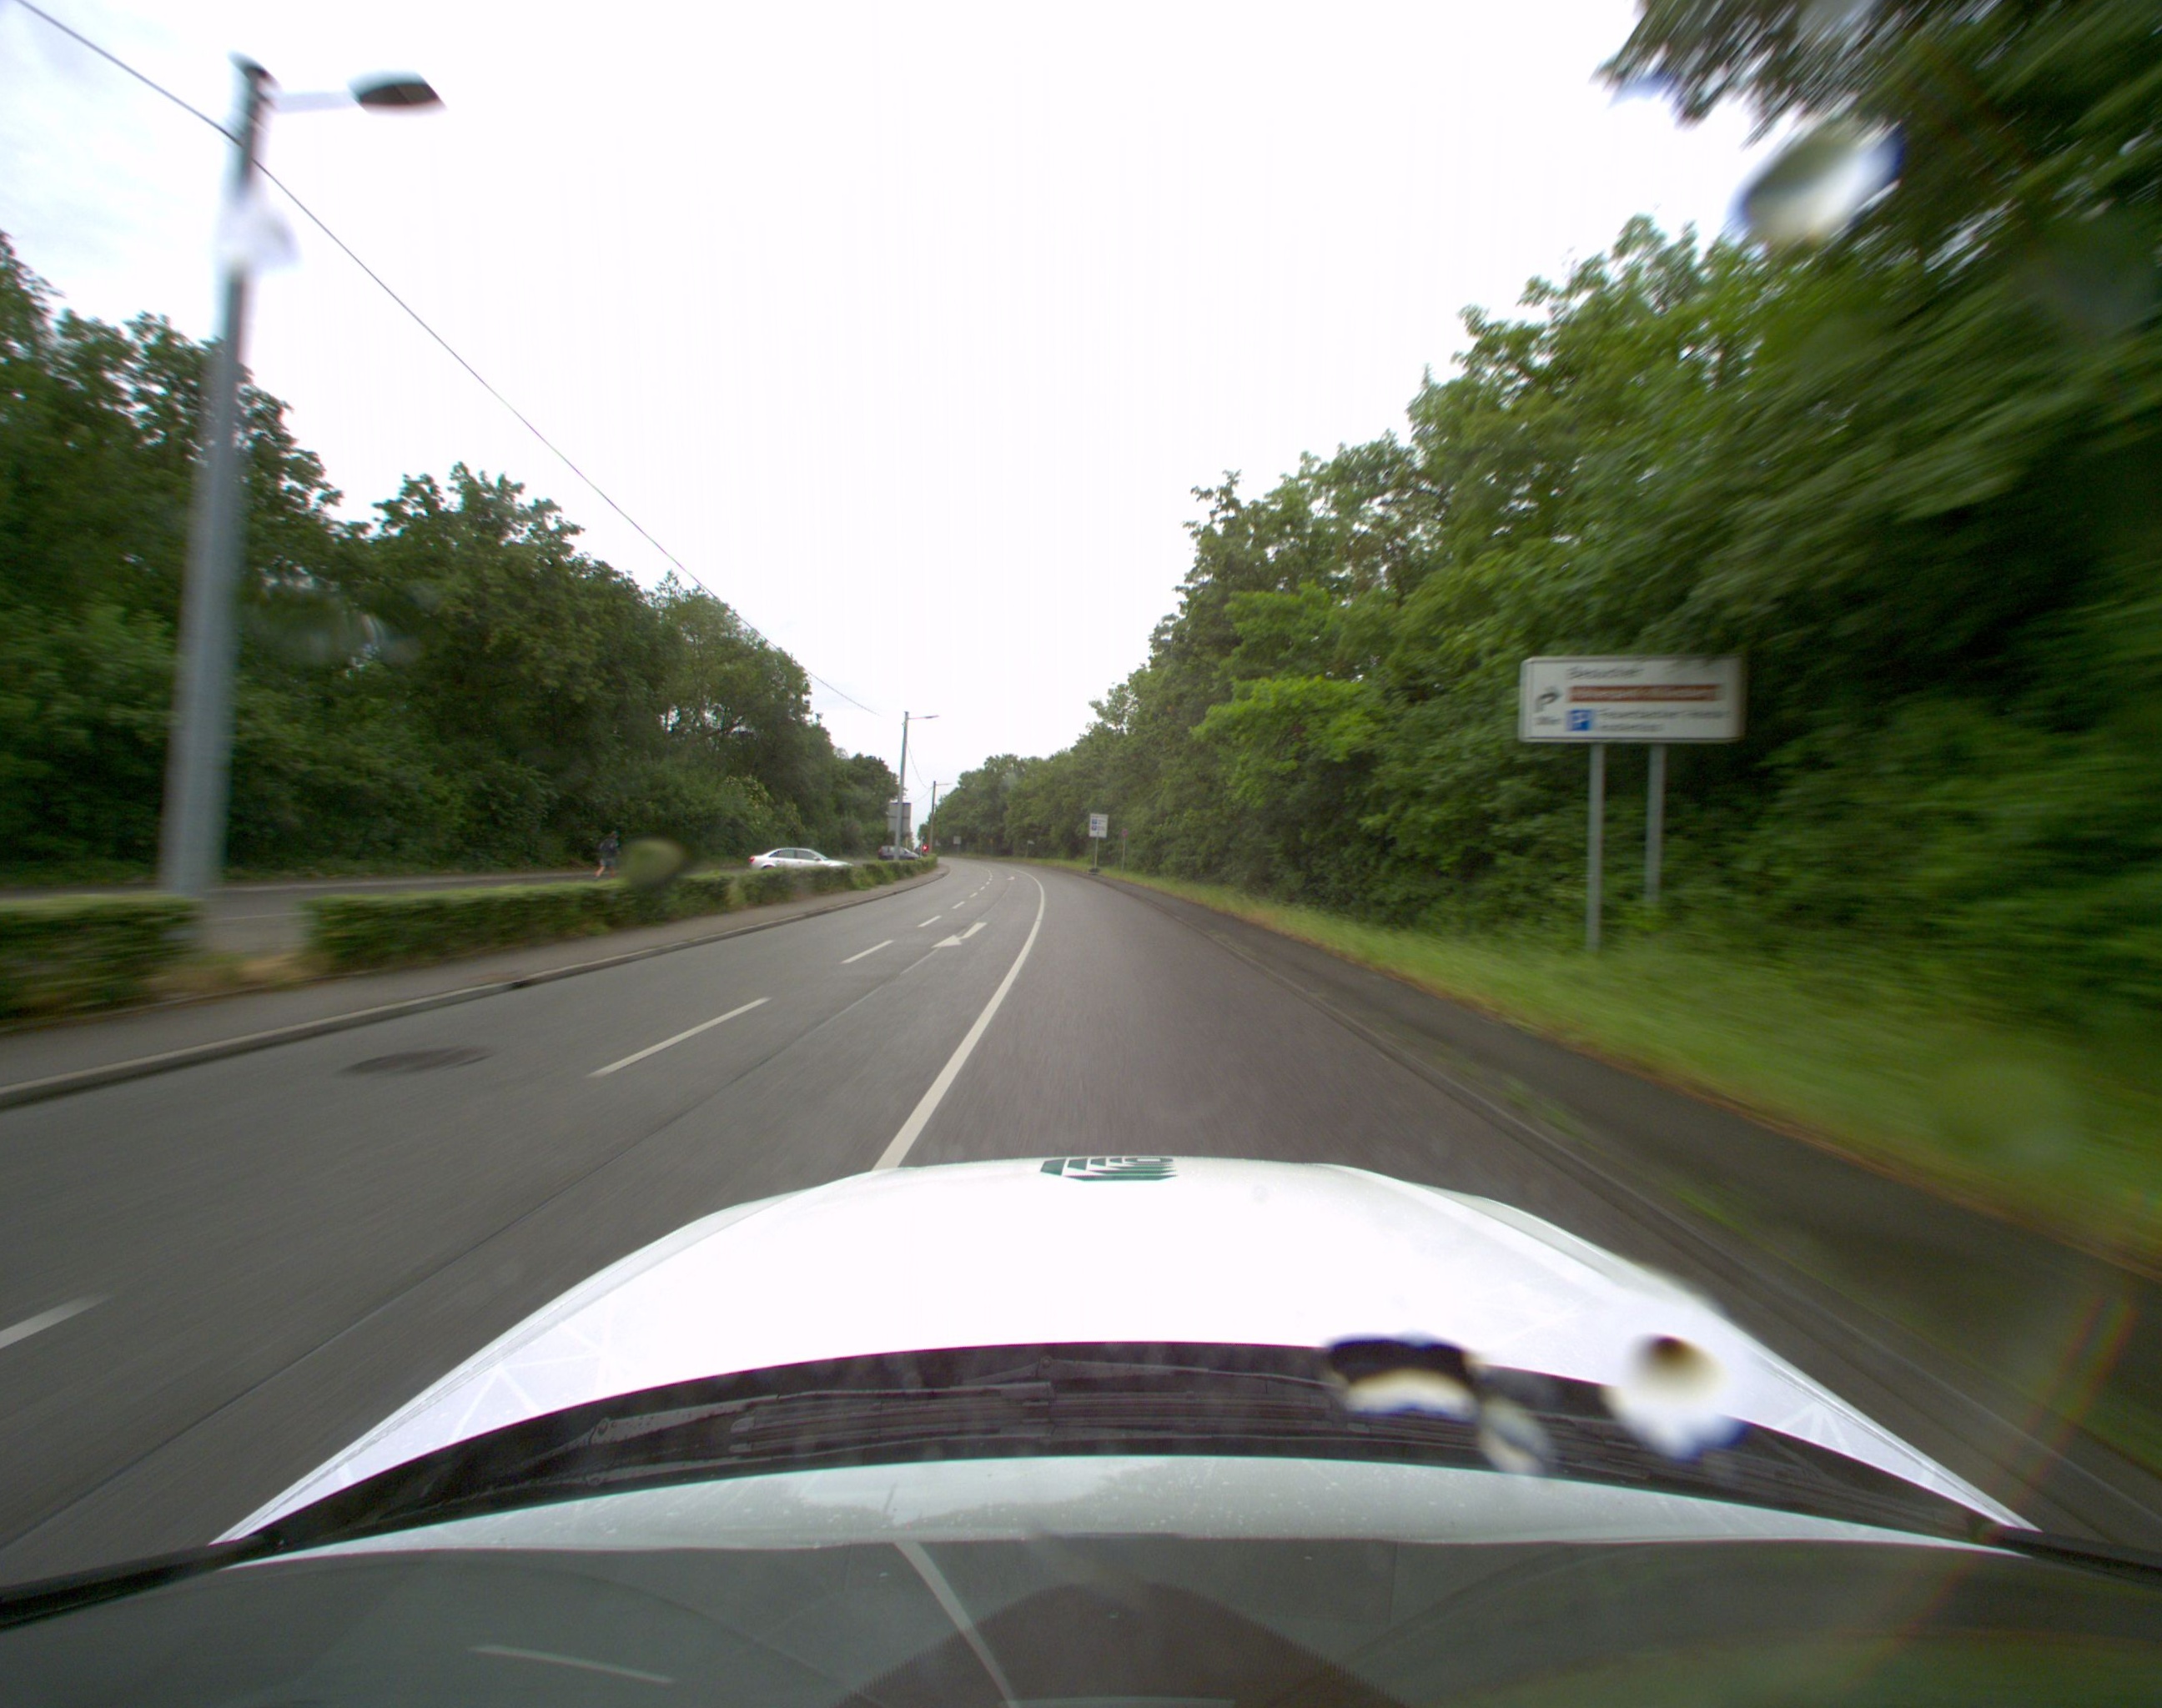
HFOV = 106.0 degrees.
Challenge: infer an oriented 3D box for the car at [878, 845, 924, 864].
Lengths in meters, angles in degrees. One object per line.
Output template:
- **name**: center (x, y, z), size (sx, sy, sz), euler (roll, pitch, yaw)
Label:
- **car**: center (-18.045, 0.056, 81.678), size (4.287, 1.708, 1.995), euler (2, 0, -7)

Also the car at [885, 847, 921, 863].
- **car**: center (-19.047, 0.086, 87.225), size (3.649, 1.591, 1.843), euler (2, 0, -14)

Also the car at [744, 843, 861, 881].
- **car**: center (-12.137, 0.352, 35.807), size (4.575, 1.506, 1.993), euler (1, 0, -10)

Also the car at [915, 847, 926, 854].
- **car**: center (-35.255, -0.729, 178.991), size (1.938, 1.498, 4.296), euler (1, 0, -15)

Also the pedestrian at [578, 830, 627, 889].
- **pedestrian**: center (-15.106, 0.171, 25.748), size (0.814, 1.797, 1.136), euler (1, 0, 2)
